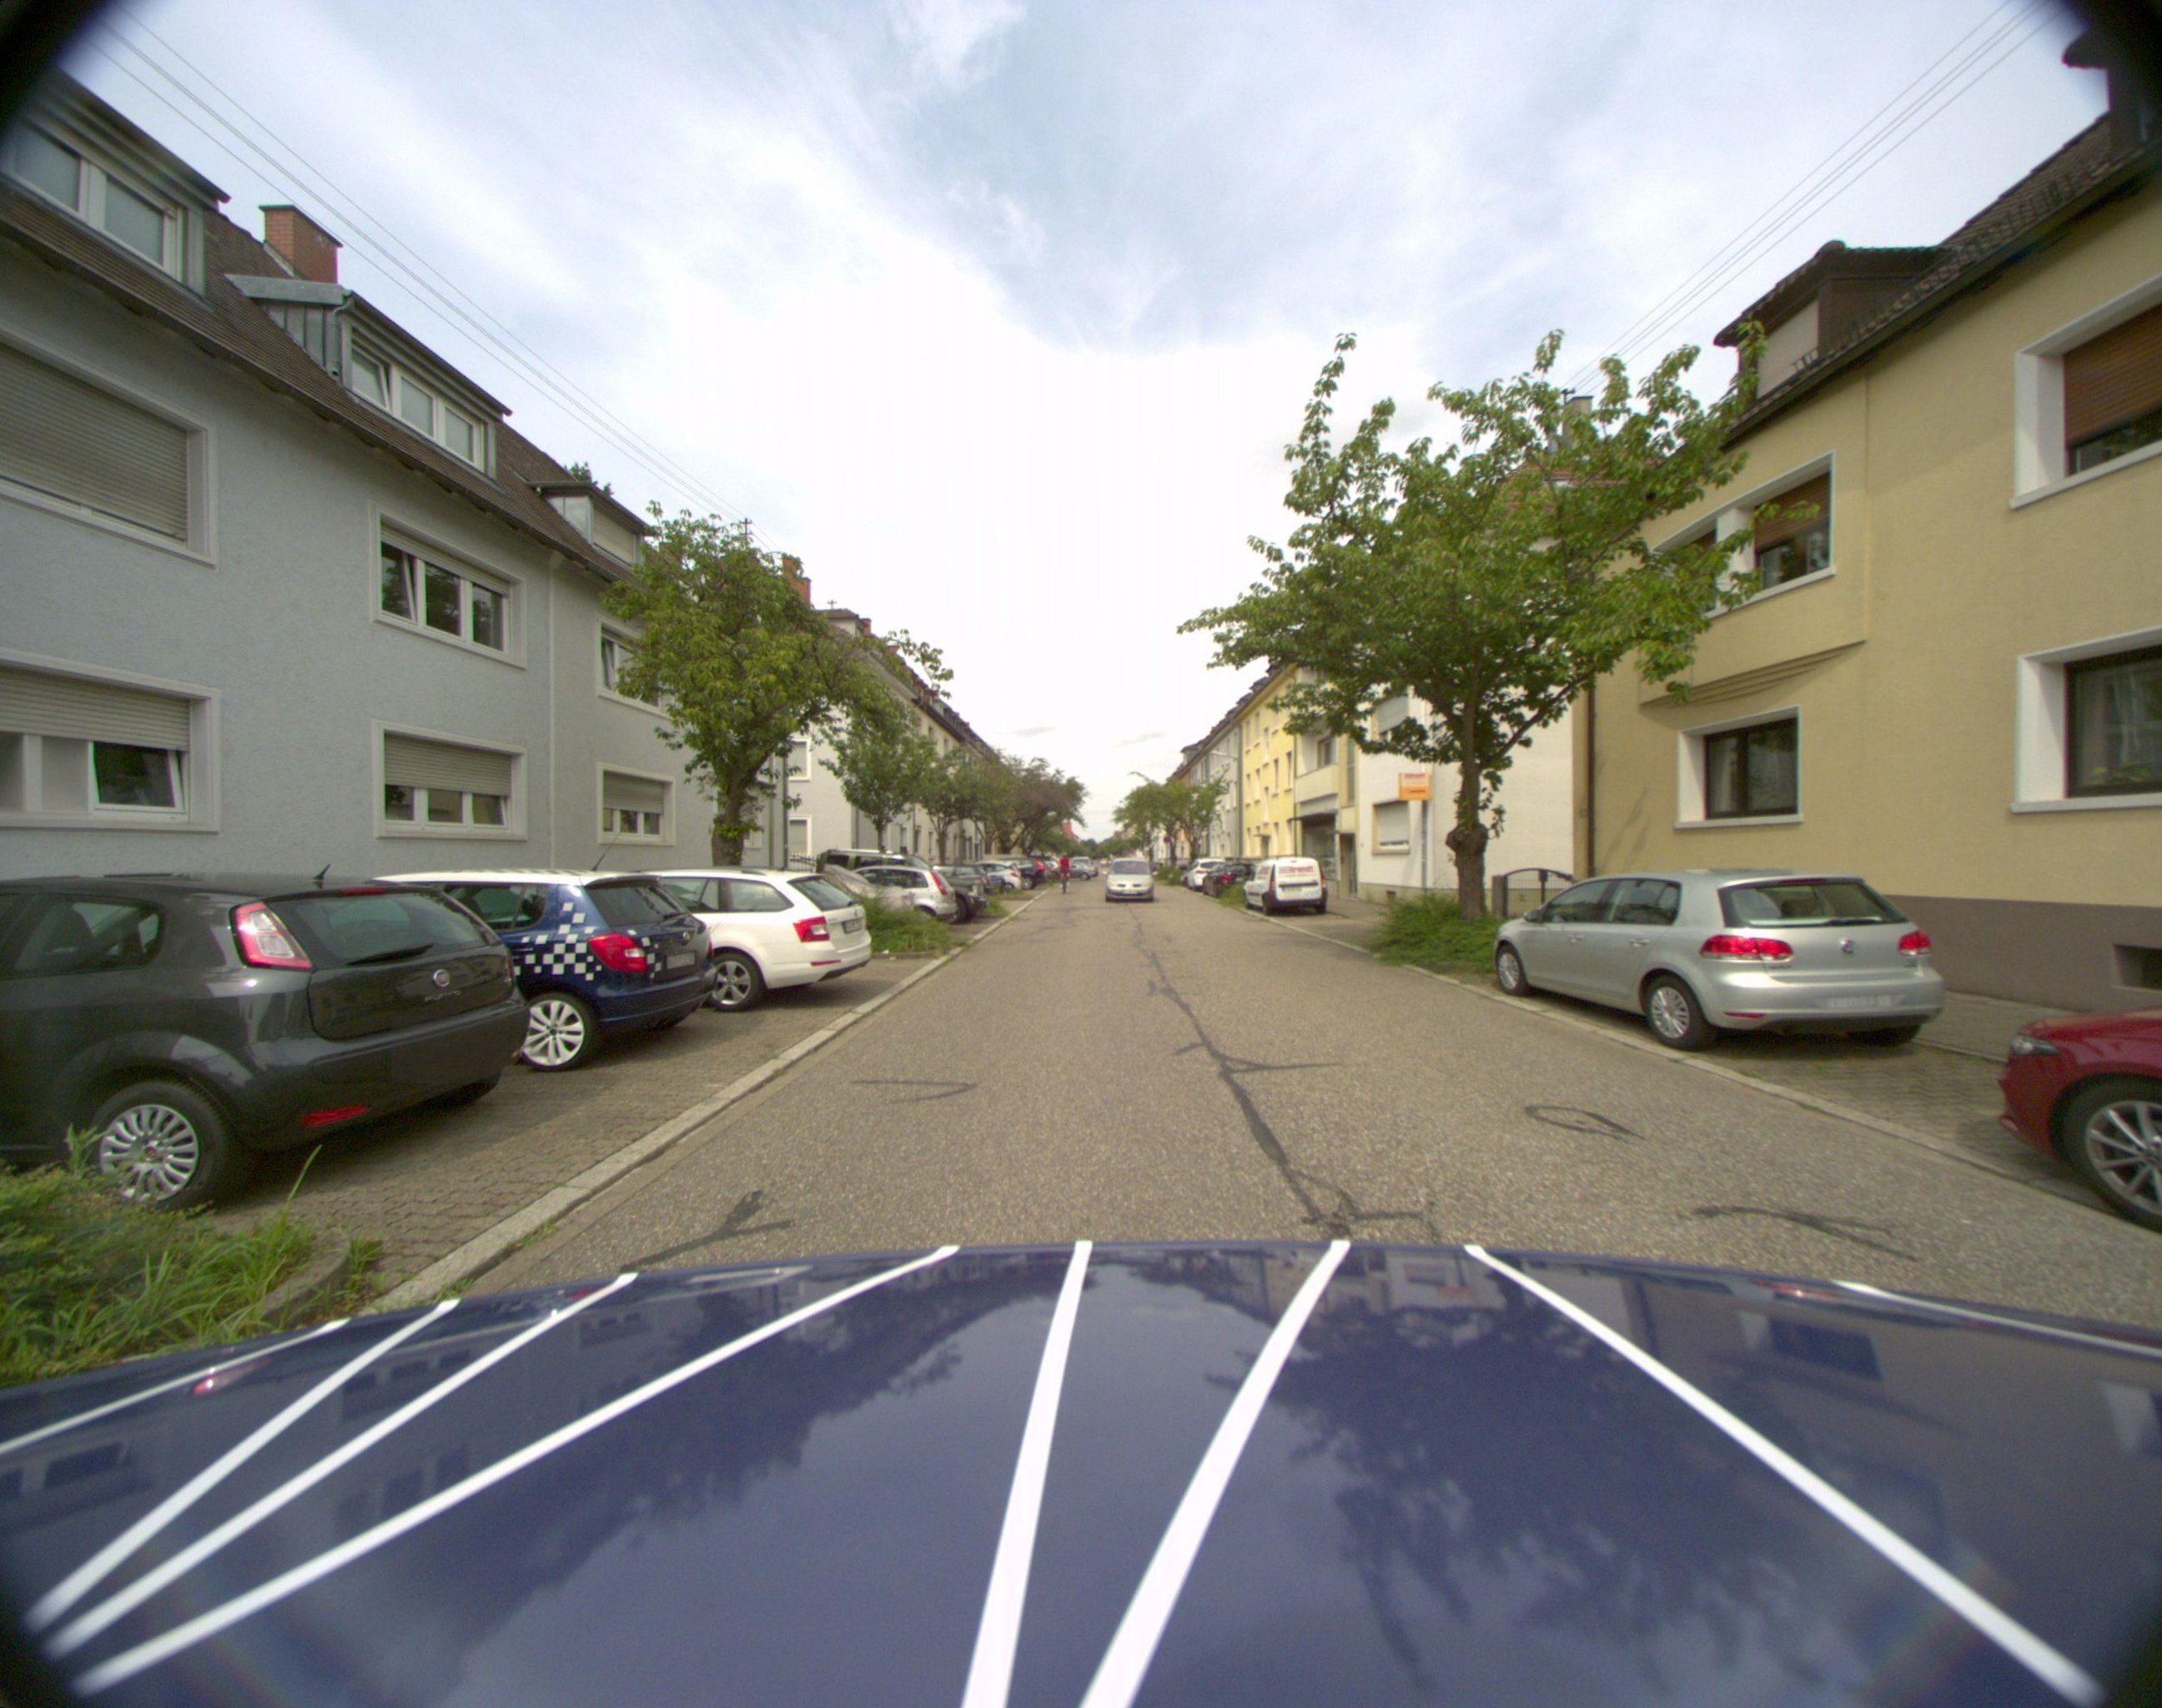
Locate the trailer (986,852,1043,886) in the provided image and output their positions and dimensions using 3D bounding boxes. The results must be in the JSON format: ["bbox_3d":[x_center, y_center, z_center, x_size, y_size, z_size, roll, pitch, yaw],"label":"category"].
[{"bbox_3d":[-3.717,0.828,42.597,2.967,1.820,1.401,1,1,5],"label":"trailer"}]

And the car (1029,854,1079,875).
[{"bbox_3d":[-2.190,0.847,62.372,3.997,1.527,1.638,1,0,1],"label":"car"}]

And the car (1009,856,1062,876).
[{"bbox_3d":[-3.594,0.946,60.091,3.997,1.446,1.766,1,0,1],"label":"car"}]

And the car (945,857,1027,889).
[{"bbox_3d":[-4.647,0.921,37.650,3.756,1.433,1.865,1,0,2],"label":"car"}]

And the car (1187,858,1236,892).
[{"bbox_3d":[6.362,0.977,37.531,1.761,1.547,4.256,0,0,1],"label":"car"}]

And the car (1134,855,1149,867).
[{"bbox_3d":[8.297,0.966,104.061,1.697,1.573,4.249,-1,0,0],"label":"car"}]

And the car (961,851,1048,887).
[{"bbox_3d":[-3.941,0.766,39.734,4.224,1.725,1.904,1,0,4],"label":"car"}]

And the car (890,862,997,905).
[{"bbox_3d":[-4.988,1.057,27.903,3.552,1.444,1.809,1,0,1],"label":"car"}]

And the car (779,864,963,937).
[{"bbox_3d":[-4.587,0.998,17.027,3.635,1.446,1.772,1,0,-3],"label":"car"}]

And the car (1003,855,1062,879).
[{"bbox_3d":[-3.673,0.958,57.752,4.224,1.668,1.904,1,0,4],"label":"car"}]

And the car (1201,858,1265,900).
[{"bbox_3d":[6.153,0.949,31.205,1.795,1.483,4.812,-1,1,2],"label":"car"}]

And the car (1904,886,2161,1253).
[{"bbox_3d":[5.398,0.940,1.868,1.881,1.477,4.512,1,0,1],"label":"car"}]

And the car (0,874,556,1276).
[{"bbox_3d":[-5.346,0.920,3.990,3.996,1.499,1.712,1,0,1],"label":"car"}]

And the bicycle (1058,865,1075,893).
[{"bbox_3d":[-0.667,1.147,35.542,0.693,1.220,1.937,-1,0,1],"label":"bicycle"}]

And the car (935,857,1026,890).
[{"bbox_3d":[-4.652,0.903,35.468,3.997,1.402,1.768,1,0,-2],"label":"car"}]

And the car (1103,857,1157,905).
[{"bbox_3d":[1.757,0.947,28.695,1.788,1.595,4.836,0,0,1],"label":"car"}]

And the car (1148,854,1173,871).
[{"bbox_3d":[7.484,0.754,71.835,1.841,1.475,4.120,-3,0,-1],"label":"car"}]

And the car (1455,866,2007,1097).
[{"bbox_3d":[5.620,0.939,7.487,1.776,1.384,4.275,-6,0,2],"label":"car"}]

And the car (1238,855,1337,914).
[{"bbox_3d":[6.120,0.842,23.056,1.923,1.572,4.382,1,0,2],"label":"car"}]

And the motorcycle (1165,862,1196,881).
[{"bbox_3d":[6.451,1.117,49.268,1.914,1.185,0.595,1,1,-25],"label":"motorcycle"}]

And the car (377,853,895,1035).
[{"bbox_3d":[-4.635,0.872,8.408,4.625,1.654,1.893,1,0,2],"label":"car"}]

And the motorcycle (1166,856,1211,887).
[{"bbox_3d":[5.889,0.958,41.761,0.941,1.666,2.467,1,-1,-42],"label":"motorcycle"}]

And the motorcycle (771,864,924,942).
[{"bbox_3d":[-4.551,0.941,14.994,2.708,1.455,1.031,0,0,-2],"label":"motorcycle"}]

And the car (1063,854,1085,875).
[{"bbox_3d":[-0.687,0.973,72.318,1.999,1.903,4.703,-2,0,-1],"label":"car"}]

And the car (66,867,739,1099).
[{"bbox_3d":[-5.201,0.918,6.221,3.996,1.499,1.712,1,0,1],"label":"car"}]

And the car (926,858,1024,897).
[{"bbox_3d":[-4.510,0.981,32.793,3.997,1.521,1.768,1,0,-2],"label":"car"}]

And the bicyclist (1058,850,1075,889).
[{"bbox_3d":[-0.674,0.707,35.460,0.694,1.760,0.986,-1,1,1],"label":"bicyclist"}]

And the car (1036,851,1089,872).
[{"bbox_3d":[-1.930,0.720,76.902,5.244,2.011,2.073,1,0,-3],"label":"car"}]

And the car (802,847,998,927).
[{"bbox_3d":[-4.564,0.808,19.570,4.535,1.847,1.793,1,0,4],"label":"car"}]
